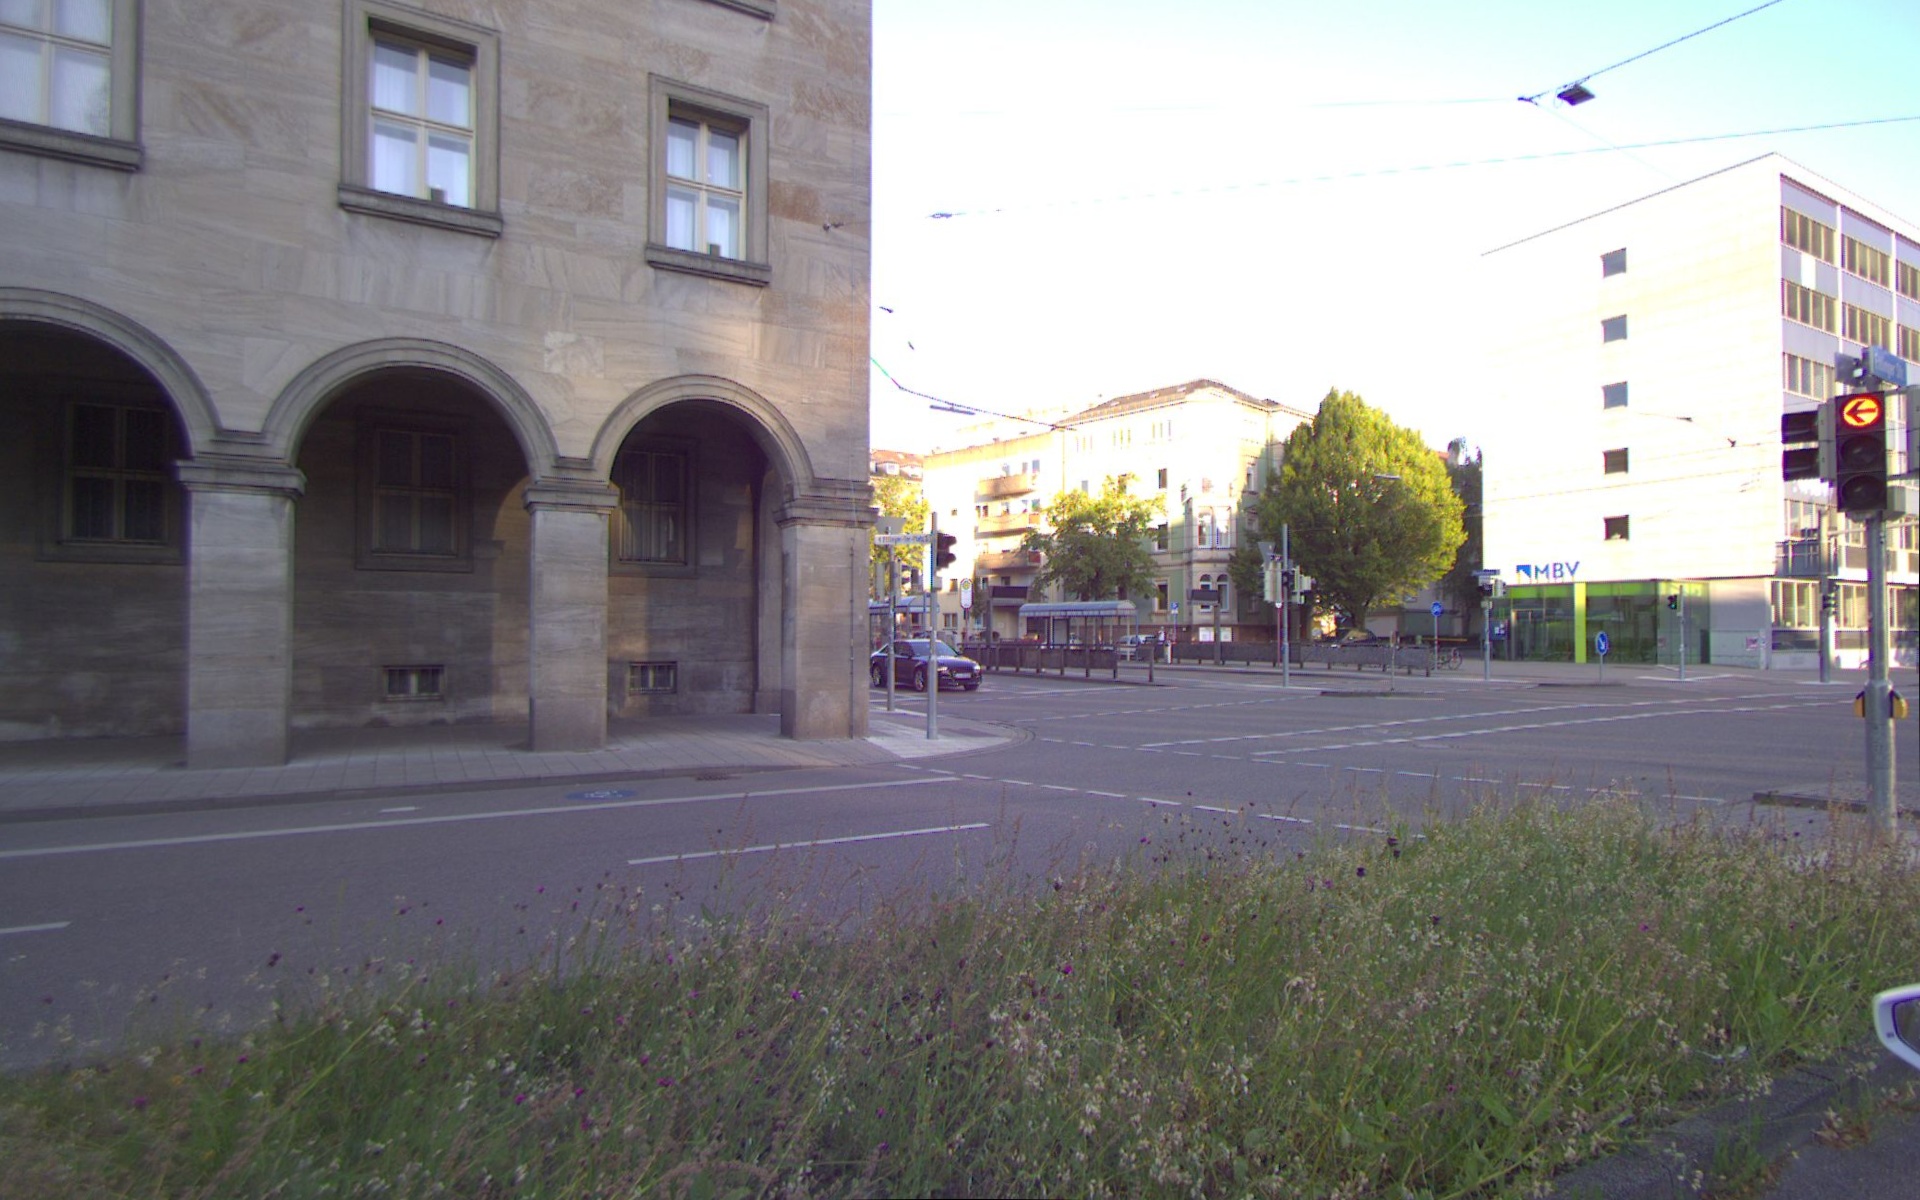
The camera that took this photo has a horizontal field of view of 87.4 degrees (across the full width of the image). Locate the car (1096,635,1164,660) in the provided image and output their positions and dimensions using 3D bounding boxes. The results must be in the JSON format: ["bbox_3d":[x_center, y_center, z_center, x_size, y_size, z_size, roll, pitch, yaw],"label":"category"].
[{"bbox_3d":[10.012,2.771,59.225,3.545,1.390,1.830,-2,-3,45],"label":"car"}]

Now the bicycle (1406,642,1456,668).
[{"bbox_3d":[20.982,2.438,44.739,2.183,1.127,0.834,1,-2,-26],"label":"bicycle"}]

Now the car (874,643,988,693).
[{"bbox_3d":[-0.931,1.965,29.820,1.791,1.344,4.120,1,-2,-27],"label":"car"}]

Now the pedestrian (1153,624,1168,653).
[{"bbox_3d":[12.516,2.407,62.731,0.718,1.813,0.634,2,-2,-44],"label":"pedestrian"}]

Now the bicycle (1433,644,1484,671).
[{"bbox_3d":[21.586,2.489,43.509,2.183,1.127,0.834,1,-2,-26],"label":"bicycle"}]

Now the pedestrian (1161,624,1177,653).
[{"bbox_3d":[13.142,2.428,63.165,0.718,1.813,0.634,2,-2,-43],"label":"pedestrian"}]

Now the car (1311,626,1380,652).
[{"bbox_3d":[21.687,2.195,56.500,3.553,1.390,1.826,1,-2,-32],"label":"car"}]
